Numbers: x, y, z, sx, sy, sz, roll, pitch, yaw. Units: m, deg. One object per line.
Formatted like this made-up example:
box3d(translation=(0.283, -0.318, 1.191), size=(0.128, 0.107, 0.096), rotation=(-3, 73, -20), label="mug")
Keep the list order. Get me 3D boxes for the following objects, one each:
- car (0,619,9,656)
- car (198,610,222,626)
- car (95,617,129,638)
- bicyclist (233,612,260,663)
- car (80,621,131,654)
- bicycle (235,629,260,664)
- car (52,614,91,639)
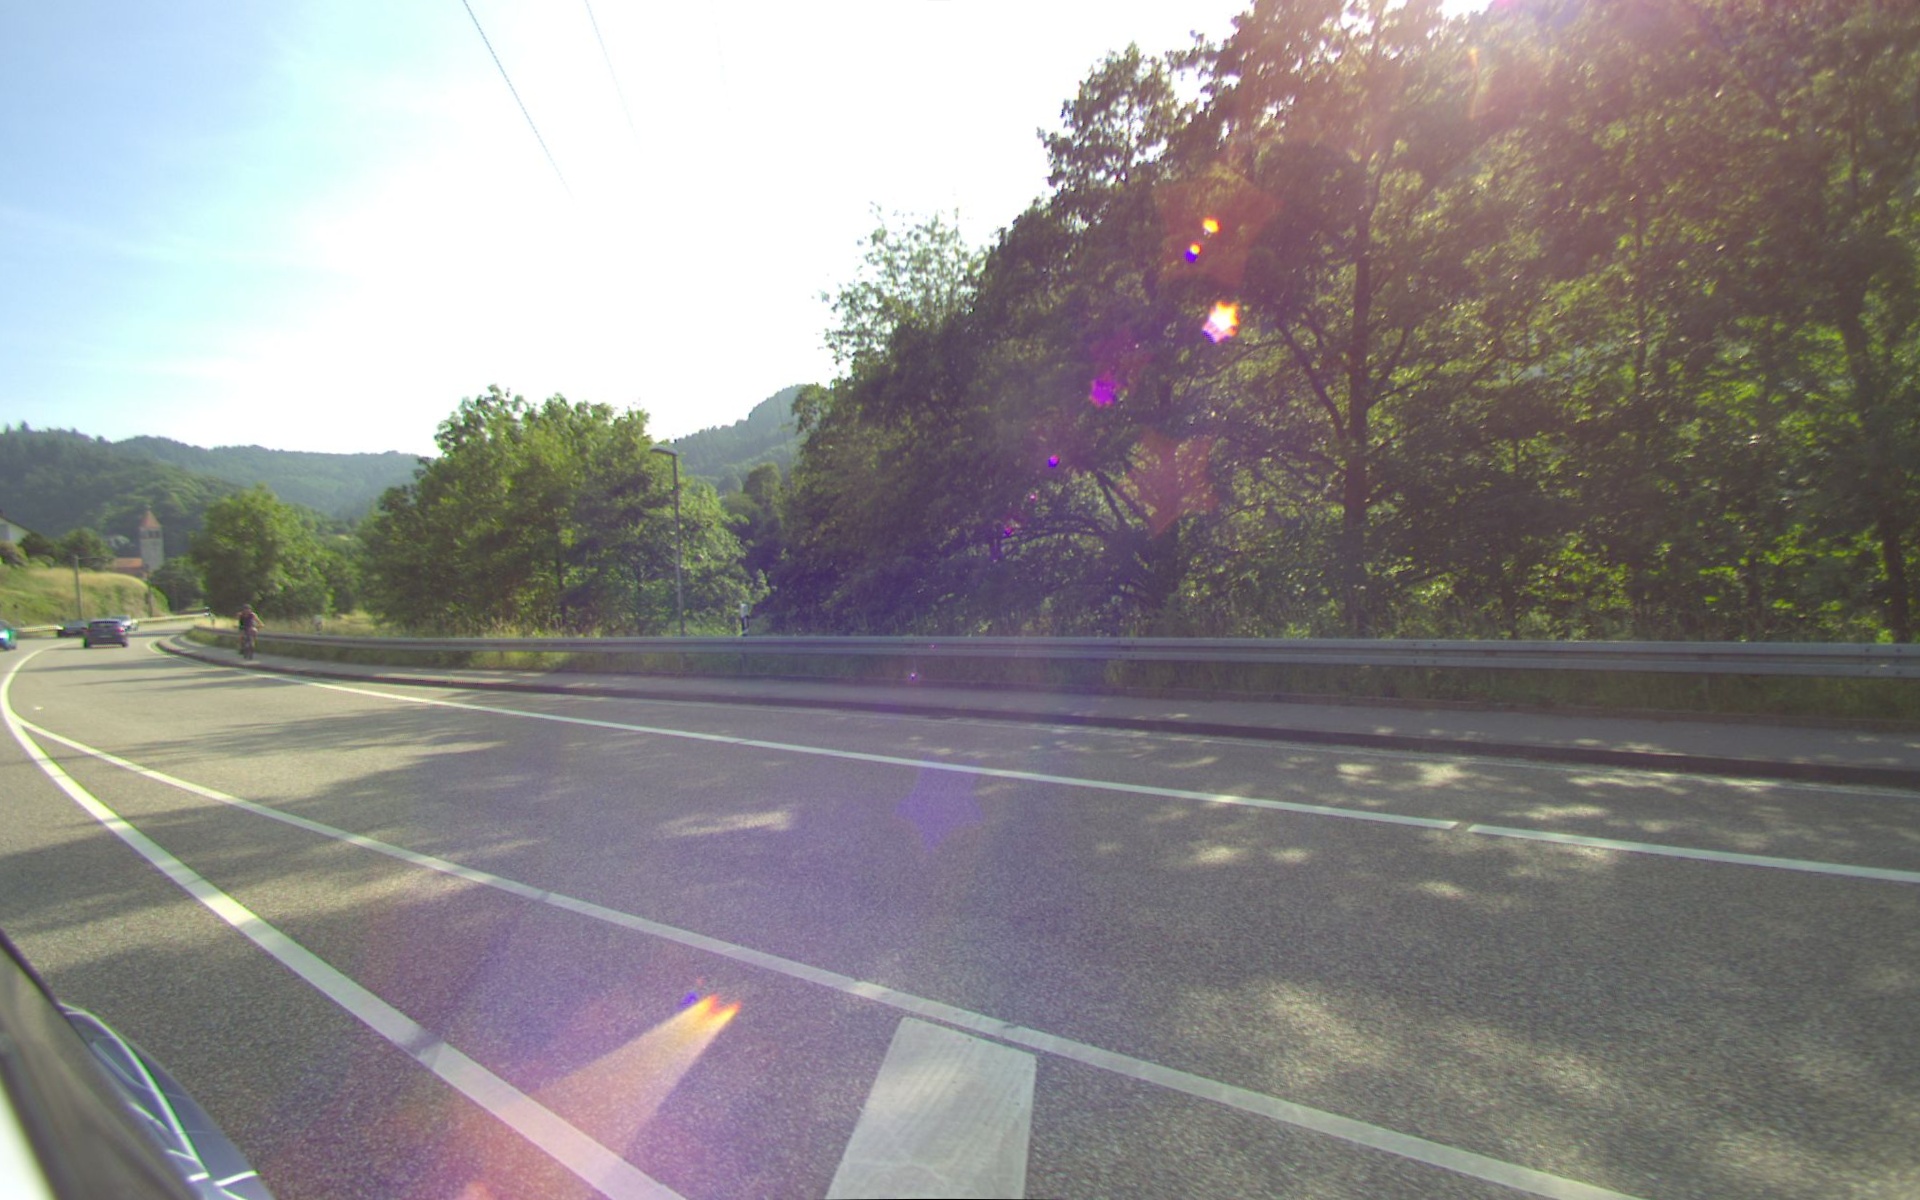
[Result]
box3d(translation=(-47.847, 1.833, 49.511), size=(1.858, 1.758, 4.183), rotation=(1, -1, -43), label="car")
box3d(translation=(-85.835, 2.050, 115.810), size=(1.969, 1.641, 4.007), rotation=(0, 1, -40), label="car")
box3d(translation=(-74.237, 2.376, 88.611), size=(1.855, 1.758, 4.189), rotation=(-2, 0, -34), label="car")
box3d(translation=(-23.414, 1.213, 33.221), size=(0.550, 1.598, 1.038), rotation=(-6, 2, -34), label="bicyclist")
box3d(translation=(-44.135, 1.922, 52.328), size=(1.867, 1.499, 4.007), rotation=(-3, 1, -39), label="car")
box3d(translation=(-23.378, 1.497, 33.229), size=(0.550, 1.053, 2.235), rotation=(-6, 2, -34), label="bicycle")
box3d(translation=(-65.942, 1.954, 75.195), size=(1.856, 1.758, 4.187), rotation=(-2, 0, -37), label="car")
